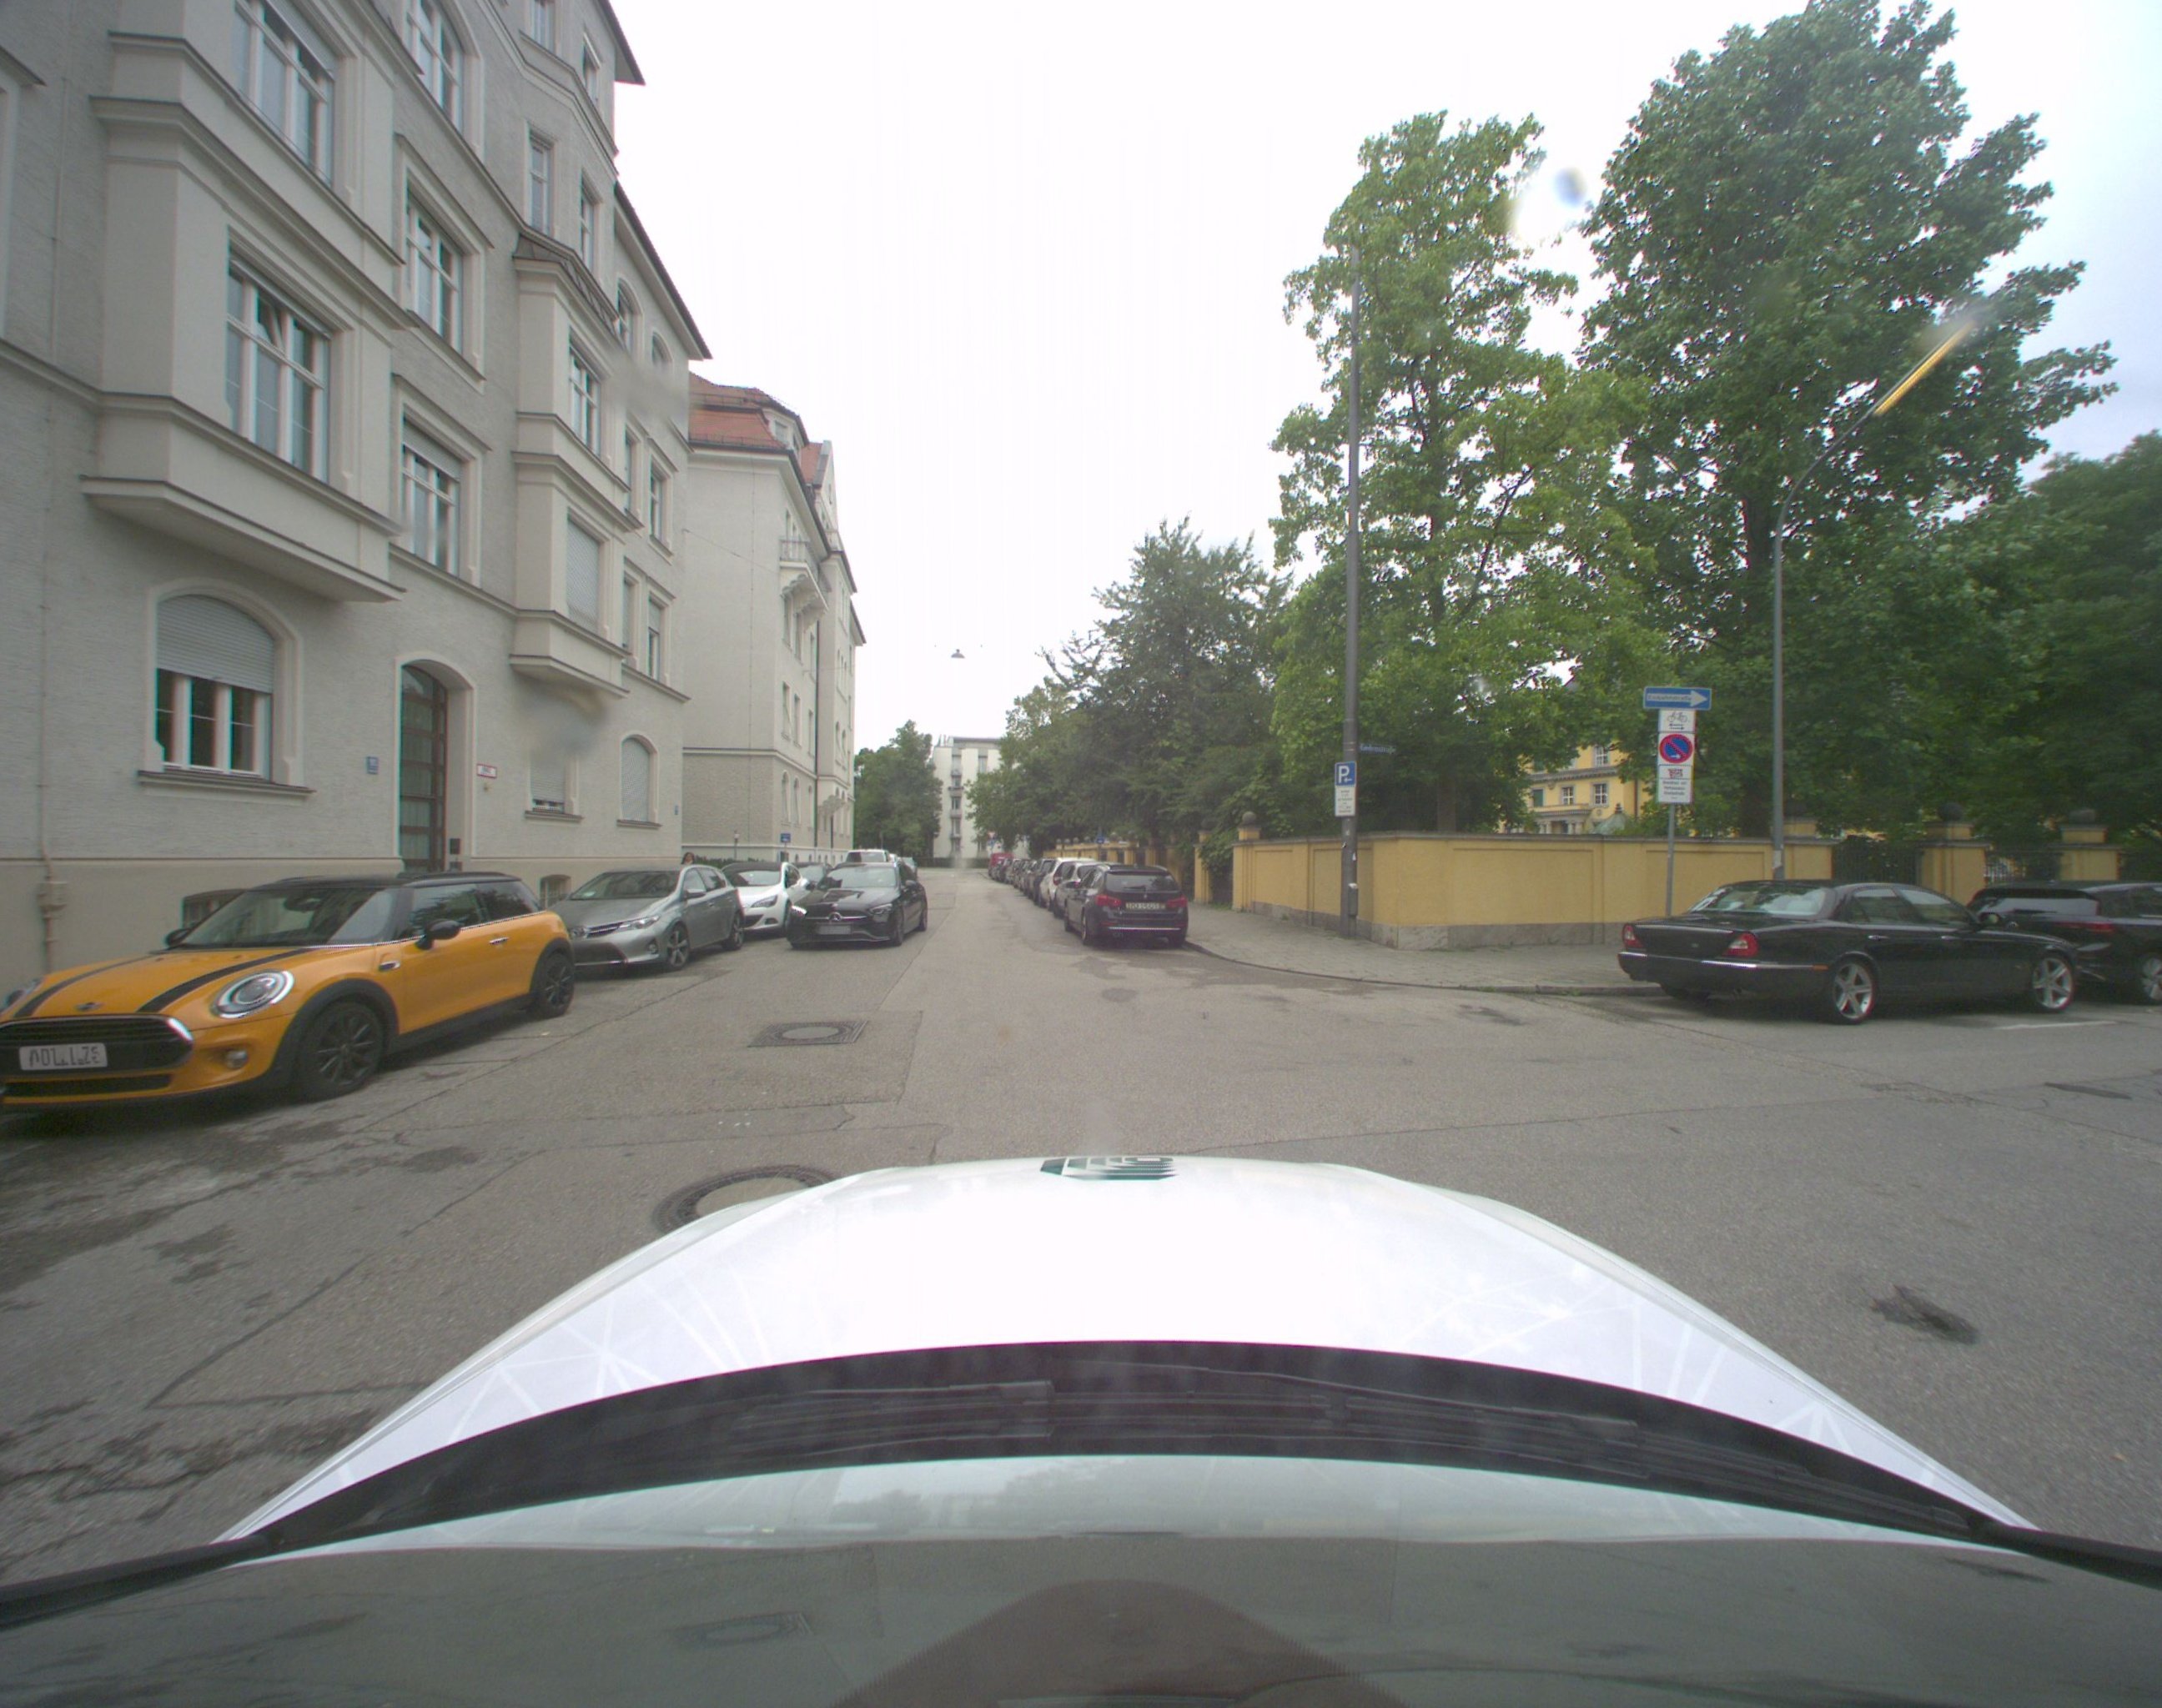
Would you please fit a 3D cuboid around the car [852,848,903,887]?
[{"bbox_3d":[-10.210,0.632,41.166,2.014,1.771,4.401,-2,1,-8],"label":"car"}]

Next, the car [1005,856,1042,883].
[{"bbox_3d":[-3.520,0.909,49.506,1.838,1.519,3.934,2,-1,-10],"label":"car"}]

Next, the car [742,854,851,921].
[{"bbox_3d":[-7.394,0.788,21.591,1.835,1.499,4.263,-2,1,-7],"label":"car"}]

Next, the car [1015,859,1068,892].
[{"bbox_3d":[-1.780,0.914,35.823,1.838,1.346,3.934,2,-1,-10],"label":"car"}]

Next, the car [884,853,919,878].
[{"bbox_3d":[-12.826,0.794,58.462,2.014,1.634,4.401,-2,1,-8],"label":"car"}]

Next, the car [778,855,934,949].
[{"bbox_3d":[-3.972,0.759,15.137,1.870,1.428,4.404,-1,0,-3],"label":"car"}]

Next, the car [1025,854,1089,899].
[{"bbox_3d":[-0.955,0.809,30.338,1.838,1.551,3.934,2,-1,-10],"label":"car"}]

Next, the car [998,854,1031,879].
[{"bbox_3d":[-4.408,0.803,53.552,1.838,1.519,3.934,2,-1,-10],"label":"car"}]

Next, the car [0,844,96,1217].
[{"bbox_3d":[-5.076,0.743,1.522,1.751,1.499,4.011,-2,0,-6],"label":"car"}]

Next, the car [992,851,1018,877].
[{"bbox_3d":[-6.059,0.803,65.265,1.833,1.927,3.999,3,0,-4],"label":"car"}]

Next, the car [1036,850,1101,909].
[{"bbox_3d":[-0.464,0.752,25.179,1.513,1.661,3.663,2,-1,-8],"label":"car"}]

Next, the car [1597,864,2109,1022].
[{"bbox_3d":[8.647,0.883,9.229,4.918,1.482,1.857,1,0,-14],"label":"car"}]

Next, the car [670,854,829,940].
[{"bbox_3d":[-6.631,0.775,16.842,1.834,1.438,4.266,-2,1,-6],"label":"car"}]

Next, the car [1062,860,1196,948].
[{"bbox_3d":[0.752,0.844,15.512,1.836,1.413,4.333,2,-1,-6],"label":"car"}]

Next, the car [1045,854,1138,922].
[{"bbox_3d":[0.177,0.805,20.502,1.652,1.519,3.782,2,-1,-10],"label":"car"}]

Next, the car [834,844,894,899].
[{"bbox_3d":[-9.283,0.695,35.190,1.885,2.127,4.693,-2,1,-8],"label":"car"}]

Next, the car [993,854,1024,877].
[{"bbox_3d":[-5.231,0.799,58.339,1.838,1.519,3.934,2,-1,-10],"label":"car"}]

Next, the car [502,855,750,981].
[{"bbox_3d":[-6.367,0.791,11.954,1.723,1.499,3.922,-1,0,-6],"label":"car"}]

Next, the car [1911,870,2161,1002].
[{"bbox_3d":[13.751,0.957,10.636,4.596,1.482,1.915,0,-1,-12],"label":"car"}]

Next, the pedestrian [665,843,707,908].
[{"bbox_3d":[-10.383,0.551,21.433,0.791,1.679,0.699,1,-1,-6],"label":"pedestrian"}]

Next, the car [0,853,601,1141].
[{"bbox_3d":[-5.683,0.782,6.436,1.638,1.499,3.965,-2,1,-5],"label":"car"}]

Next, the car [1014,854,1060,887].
[{"bbox_3d":[-2.258,0.820,40.720,1.838,1.519,3.934,2,-1,-10],"label":"car"}]

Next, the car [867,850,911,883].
[{"bbox_3d":[-11.011,0.694,46.902,2.014,1.726,4.263,-2,1,-8],"label":"car"}]
